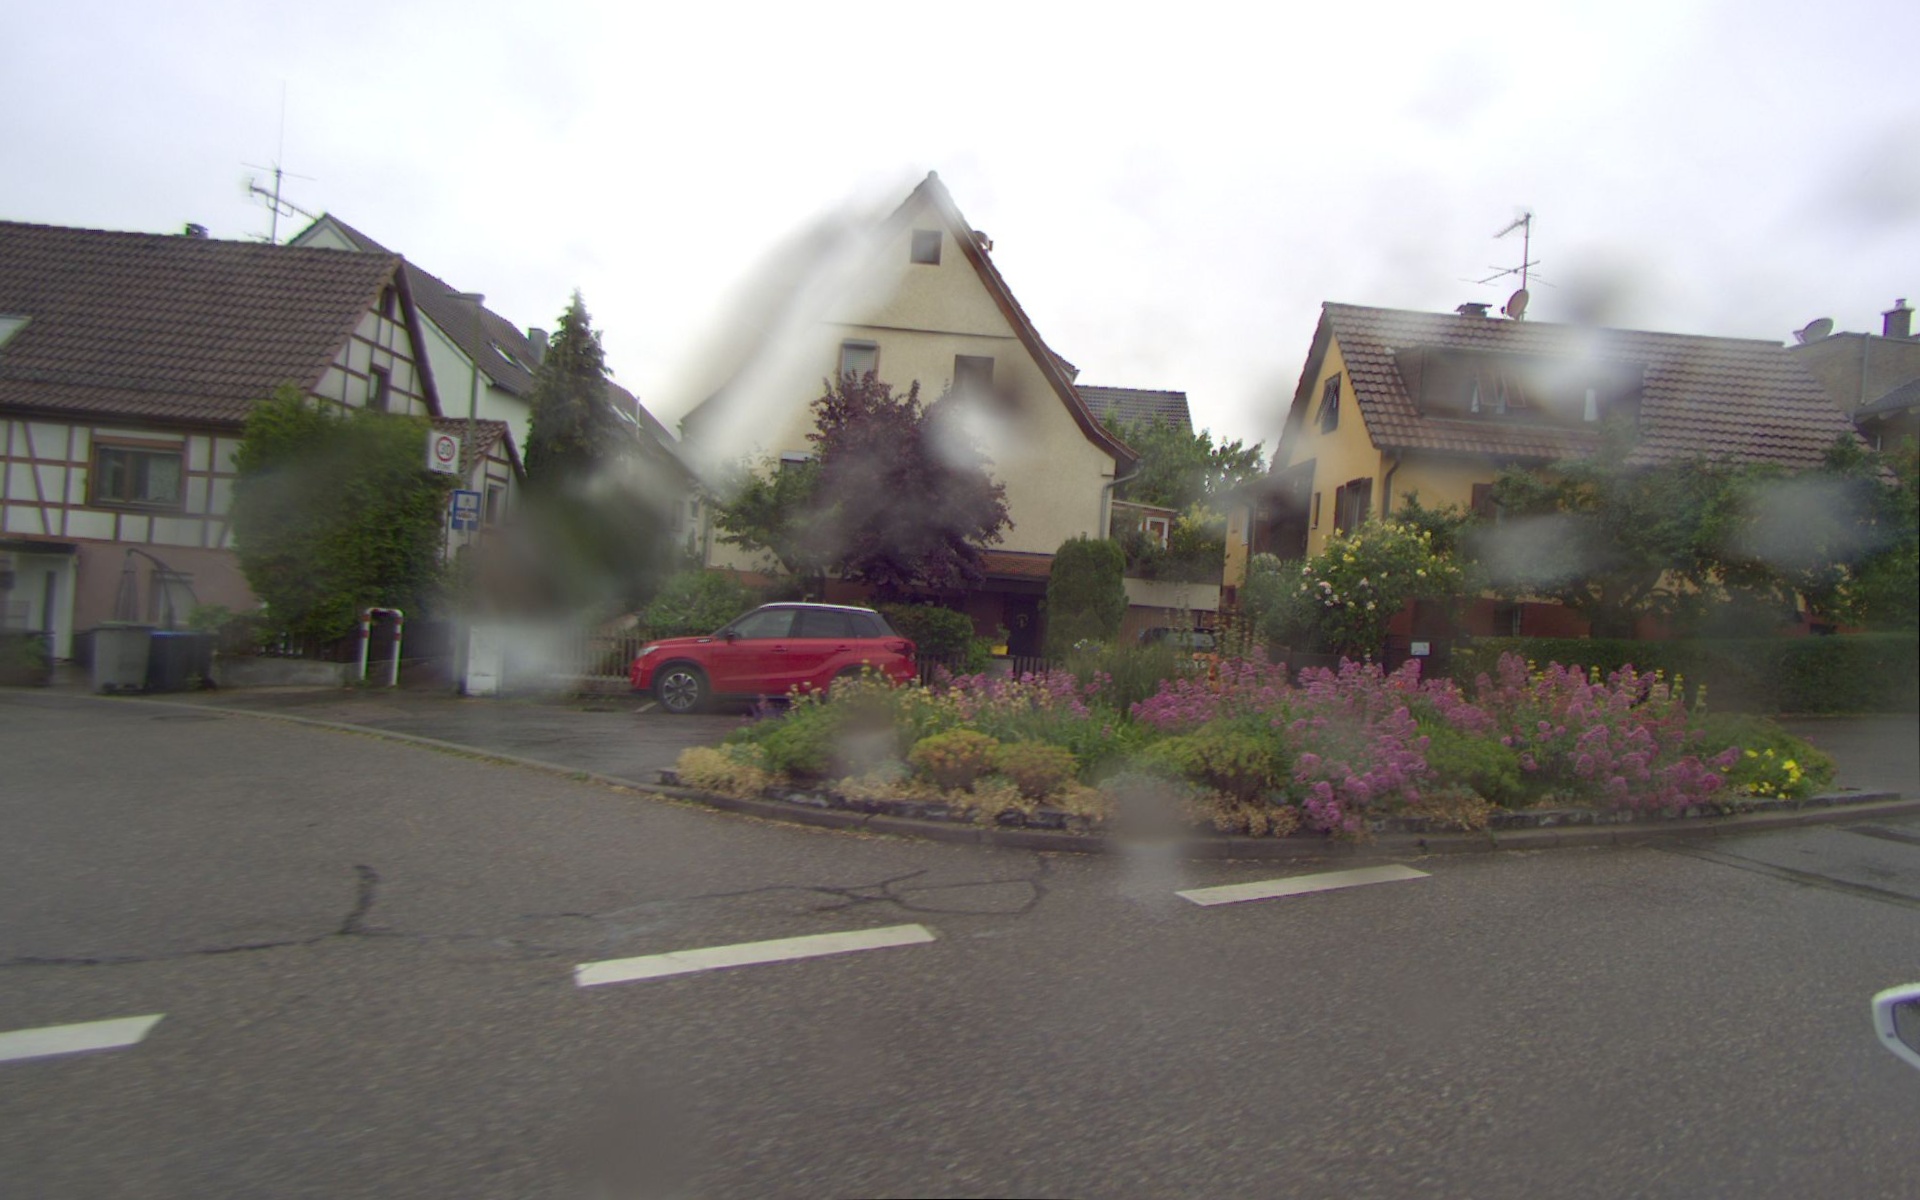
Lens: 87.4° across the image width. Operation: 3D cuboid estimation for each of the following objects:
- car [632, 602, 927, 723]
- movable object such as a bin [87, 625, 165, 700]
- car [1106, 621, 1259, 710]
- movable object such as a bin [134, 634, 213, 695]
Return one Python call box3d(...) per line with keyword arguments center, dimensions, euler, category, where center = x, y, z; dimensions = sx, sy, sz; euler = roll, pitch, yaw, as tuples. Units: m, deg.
box3d(center=(-2.476, 0.862, 14.553), dimensions=(3.940, 1.583, 1.754), euler=(1, -1, -1), category="car")
box3d(center=(-12.213, 0.900, 14.727), dimensions=(0.638, 1.059, 0.579), euler=(1, 0, 3), category="movable object such as a bin")
box3d(center=(3.979, 1.129, 18.645), dimensions=(1.827, 1.402, 3.999), euler=(1, 0, -2), category="car")
box3d(center=(-12.129, 0.984, 15.512), dimensions=(0.638, 0.899, 0.704), euler=(1, 0, 3), category="movable object such as a bin")
